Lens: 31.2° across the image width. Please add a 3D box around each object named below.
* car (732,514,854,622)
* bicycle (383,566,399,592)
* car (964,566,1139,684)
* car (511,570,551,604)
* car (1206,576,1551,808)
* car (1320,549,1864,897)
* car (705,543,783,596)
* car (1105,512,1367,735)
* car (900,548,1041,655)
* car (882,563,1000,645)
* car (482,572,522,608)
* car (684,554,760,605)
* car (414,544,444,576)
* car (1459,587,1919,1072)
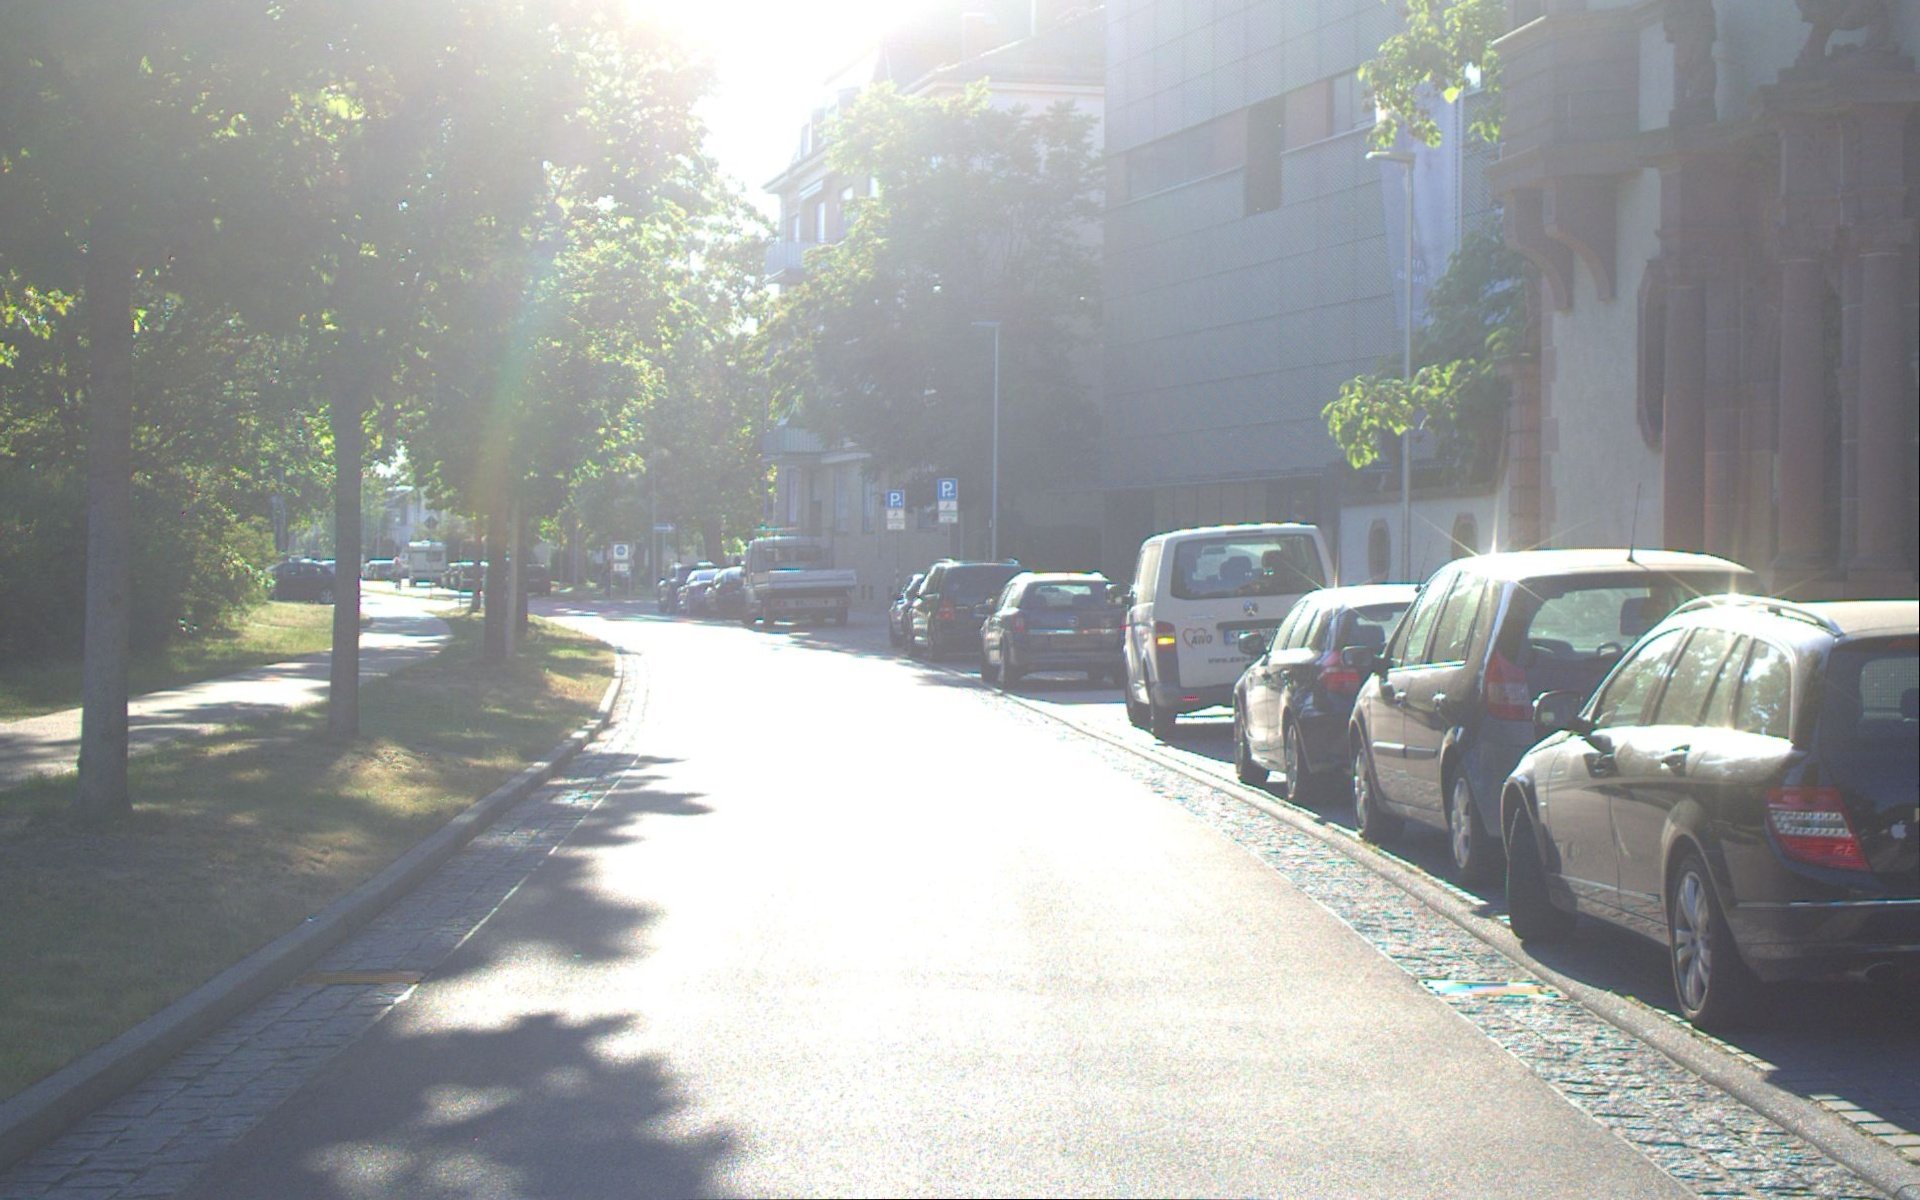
[{"bbox_3d":[-4.189,-0.815,85.228,2.211,2.521,6.149,-1,1,-10],"label":"car"},{"bbox_3d":[-29.562,-1.100,178.549,0.688,1.198,2.344,1,4,-7],"label":"bicycle"},{"bbox_3d":[1.171,0.299,46.103,1.747,1.461,4.478,1,1,-6],"label":"car"},{"bbox_3d":[-19.836,-0.593,158.824,1.793,1.505,4.001,1,1,-7],"label":"car"},{"bbox_3d":[2.776,0.561,23.647,1.679,1.398,4.200,-1,1,-2],"label":"car"},{"bbox_3d":[3.176,0.547,18.147,1.815,1.597,4.193,-1,1,-4],"label":"car"},{"bbox_3d":[-6.056,-0.861,96.169,1.690,1.435,3.551,0,1,-12],"label":"car"},{"bbox_3d":[2.640,0.187,34.026,1.993,1.959,4.849,-3,1,-2],"label":"car"},{"bbox_3d":[0.135,-0.009,56.474,1.724,1.663,4.115,-1,1,-8],"label":"car"},{"bbox_3d":[-0.375,0.048,62.333,1.724,1.417,3.907,0,1,-6],"label":"car"},{"bbox_3d":[-22.991,-0.529,172.345,1.793,1.718,4.001,1,1,-10],"label":"car"},{"bbox_3d":[-7.015,-0.613,101.061,1.690,1.435,4.105,0,1,-12],"label":"car"},{"bbox_3d":[-34.605,-2.615,223.928,1.793,1.992,4.001,1,1,-10],"label":"car"},{"bbox_3d":[3.263,0.699,12.914,1.871,1.431,4.523,-1,1,-3],"label":"car"}]
